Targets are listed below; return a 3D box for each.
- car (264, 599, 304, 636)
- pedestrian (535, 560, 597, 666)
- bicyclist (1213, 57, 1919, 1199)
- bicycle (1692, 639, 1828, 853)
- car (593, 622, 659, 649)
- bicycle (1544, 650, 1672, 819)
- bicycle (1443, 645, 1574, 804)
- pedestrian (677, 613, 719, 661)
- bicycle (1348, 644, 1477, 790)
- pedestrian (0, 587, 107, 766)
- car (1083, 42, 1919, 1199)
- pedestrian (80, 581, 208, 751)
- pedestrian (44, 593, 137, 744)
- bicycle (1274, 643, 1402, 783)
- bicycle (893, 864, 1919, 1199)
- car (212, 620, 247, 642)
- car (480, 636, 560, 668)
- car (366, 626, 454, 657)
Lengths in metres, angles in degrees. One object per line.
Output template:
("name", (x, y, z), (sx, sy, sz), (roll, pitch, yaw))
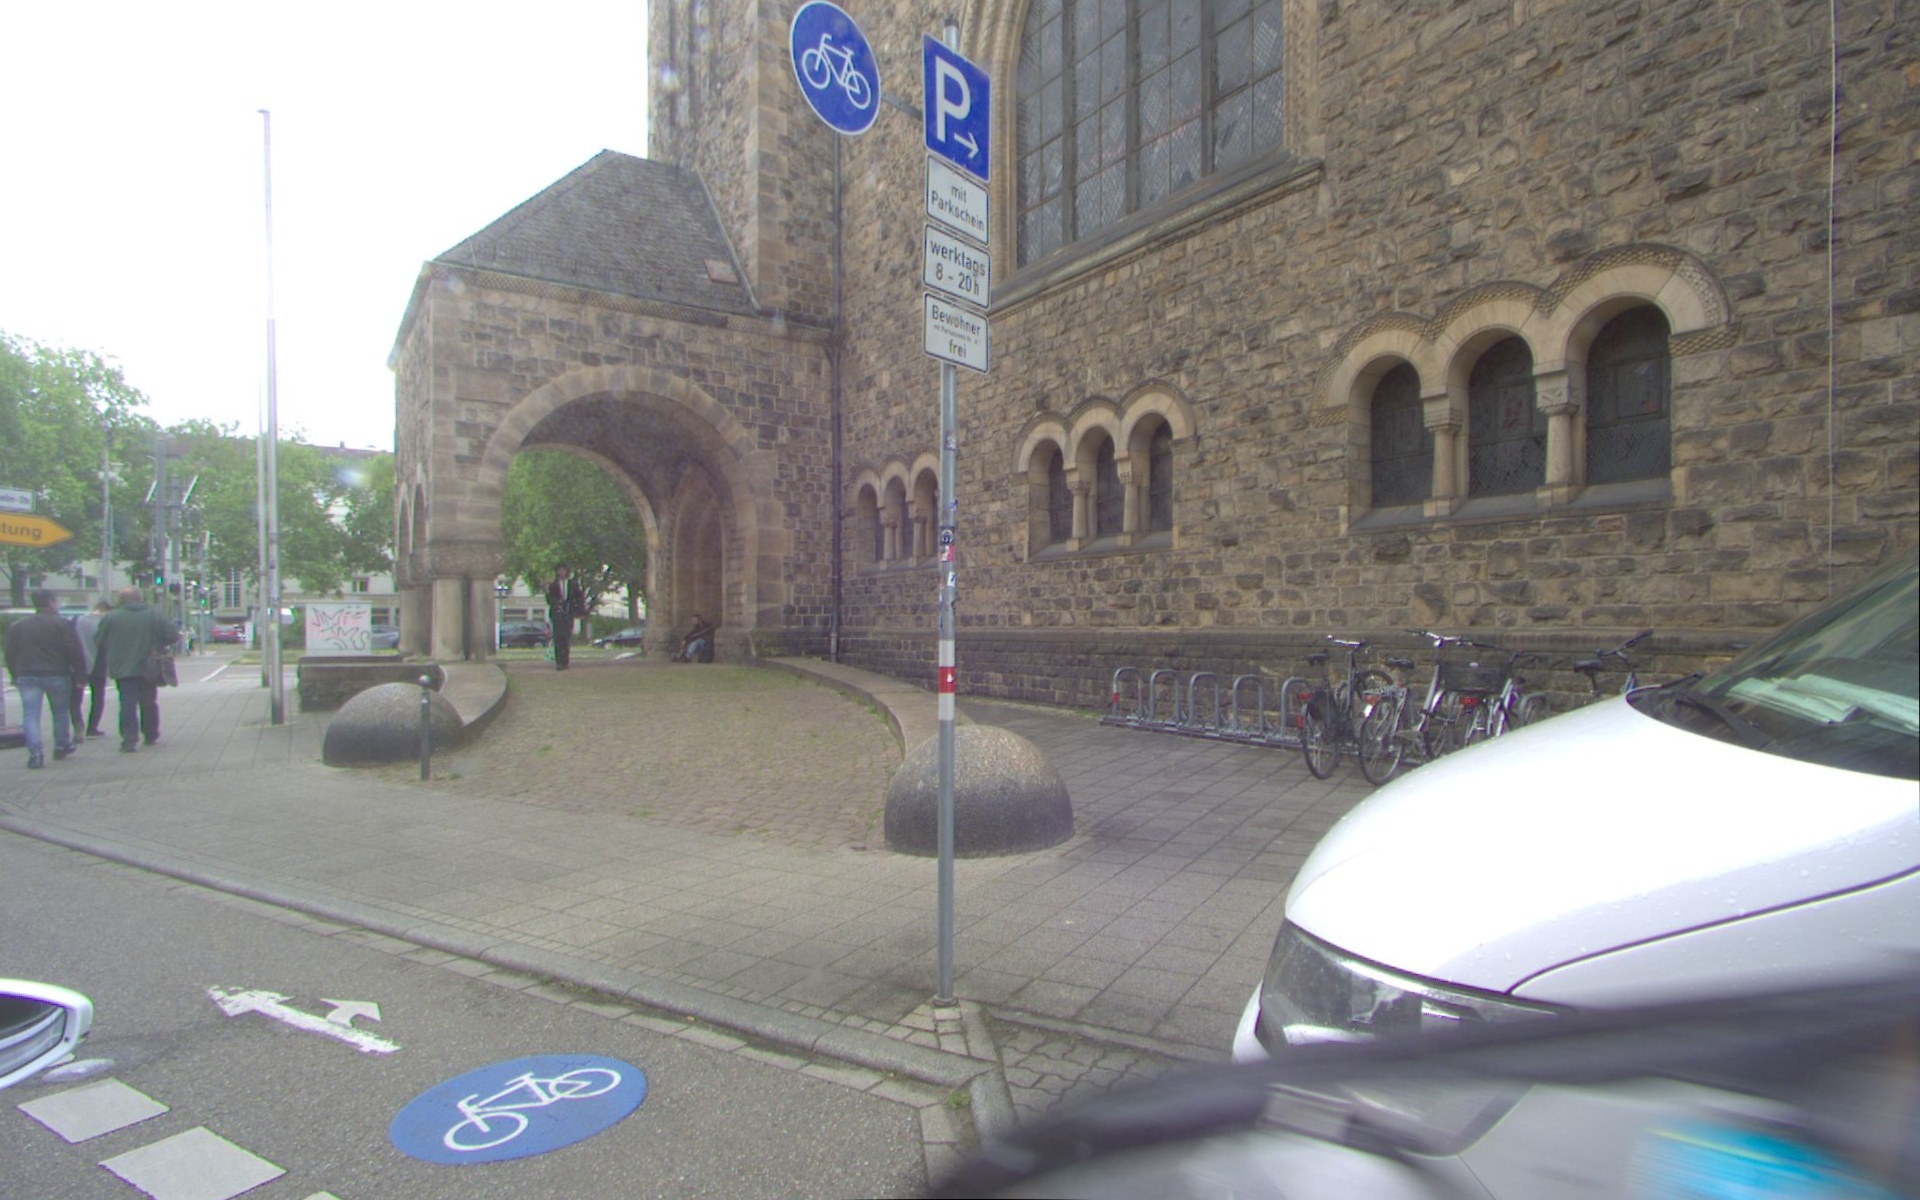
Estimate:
("car", (-50.440, 1.312, 74.819), (2.211, 2.673, 5.417), (1, -1, -31))
("pedestrian", (-7.080, 0.241, 17.976), (0.806, 1.832, 1.012), (0, 0, -37))
("bicyclist", (0.782, 0.531, 0.571), (1.047, 1.537, 0.682), (0, -1, 44))
("bicycle", (4.847, 0.827, 6.042), (1.327, 1.161, 0.309), (1, -1, -36))
("car", (-19.920, 2.096, 59.727), (3.423, 1.581, 1.676), (1, -1, -35))
("bicycle", (4.586, 0.907, 7.064), (1.327, 1.073, 0.309), (1, -1, -36))
("bicycle", (4.113, 0.888, 7.477), (1.366, 1.073, 0.309), (1, -1, -36))
("pedestrian", (-5.386, 0.757, 20.604), (0.665, 0.964, 0.611), (0, -1, -36))
("bicycle", (3.636, 0.897, 8.005), (1.366, 1.073, 0.309), (1, -1, -36))
("pedestrian", (-9.249, 0.737, 10.111), (0.955, 1.708, 0.673), (0, 2, 32))
("car", (2.794, 0.466, 0.797), (5.088, 1.945, 1.802), (-1, -1, 31))
("pedestrian", (-9.070, 0.695, 11.137), (0.955, 1.782, 0.802), (0, 2, 32))
("pedestrian", (-10.266, 0.769, 11.821), (0.957, 1.696, 0.630), (0, 2, 39))
("bicycle", (3.175, 0.903, 8.368), (1.366, 1.073, 0.309), (1, -1, -36))
("bicycle", (0.861, 0.878, 0.364), (2.116, 1.112, 0.491), (-1, -1, 44))
("car", (-51.521, 2.161, 70.680), (1.647, 1.535, 3.916), (1, -1, -31))
("car", (-24.836, 2.909, 56.507), (3.899, 1.733, 1.676), (1, -1, -35))
("car", (-29.256, 2.185, 53.290), (3.939, 1.581, 1.676), (1, -1, -35))
